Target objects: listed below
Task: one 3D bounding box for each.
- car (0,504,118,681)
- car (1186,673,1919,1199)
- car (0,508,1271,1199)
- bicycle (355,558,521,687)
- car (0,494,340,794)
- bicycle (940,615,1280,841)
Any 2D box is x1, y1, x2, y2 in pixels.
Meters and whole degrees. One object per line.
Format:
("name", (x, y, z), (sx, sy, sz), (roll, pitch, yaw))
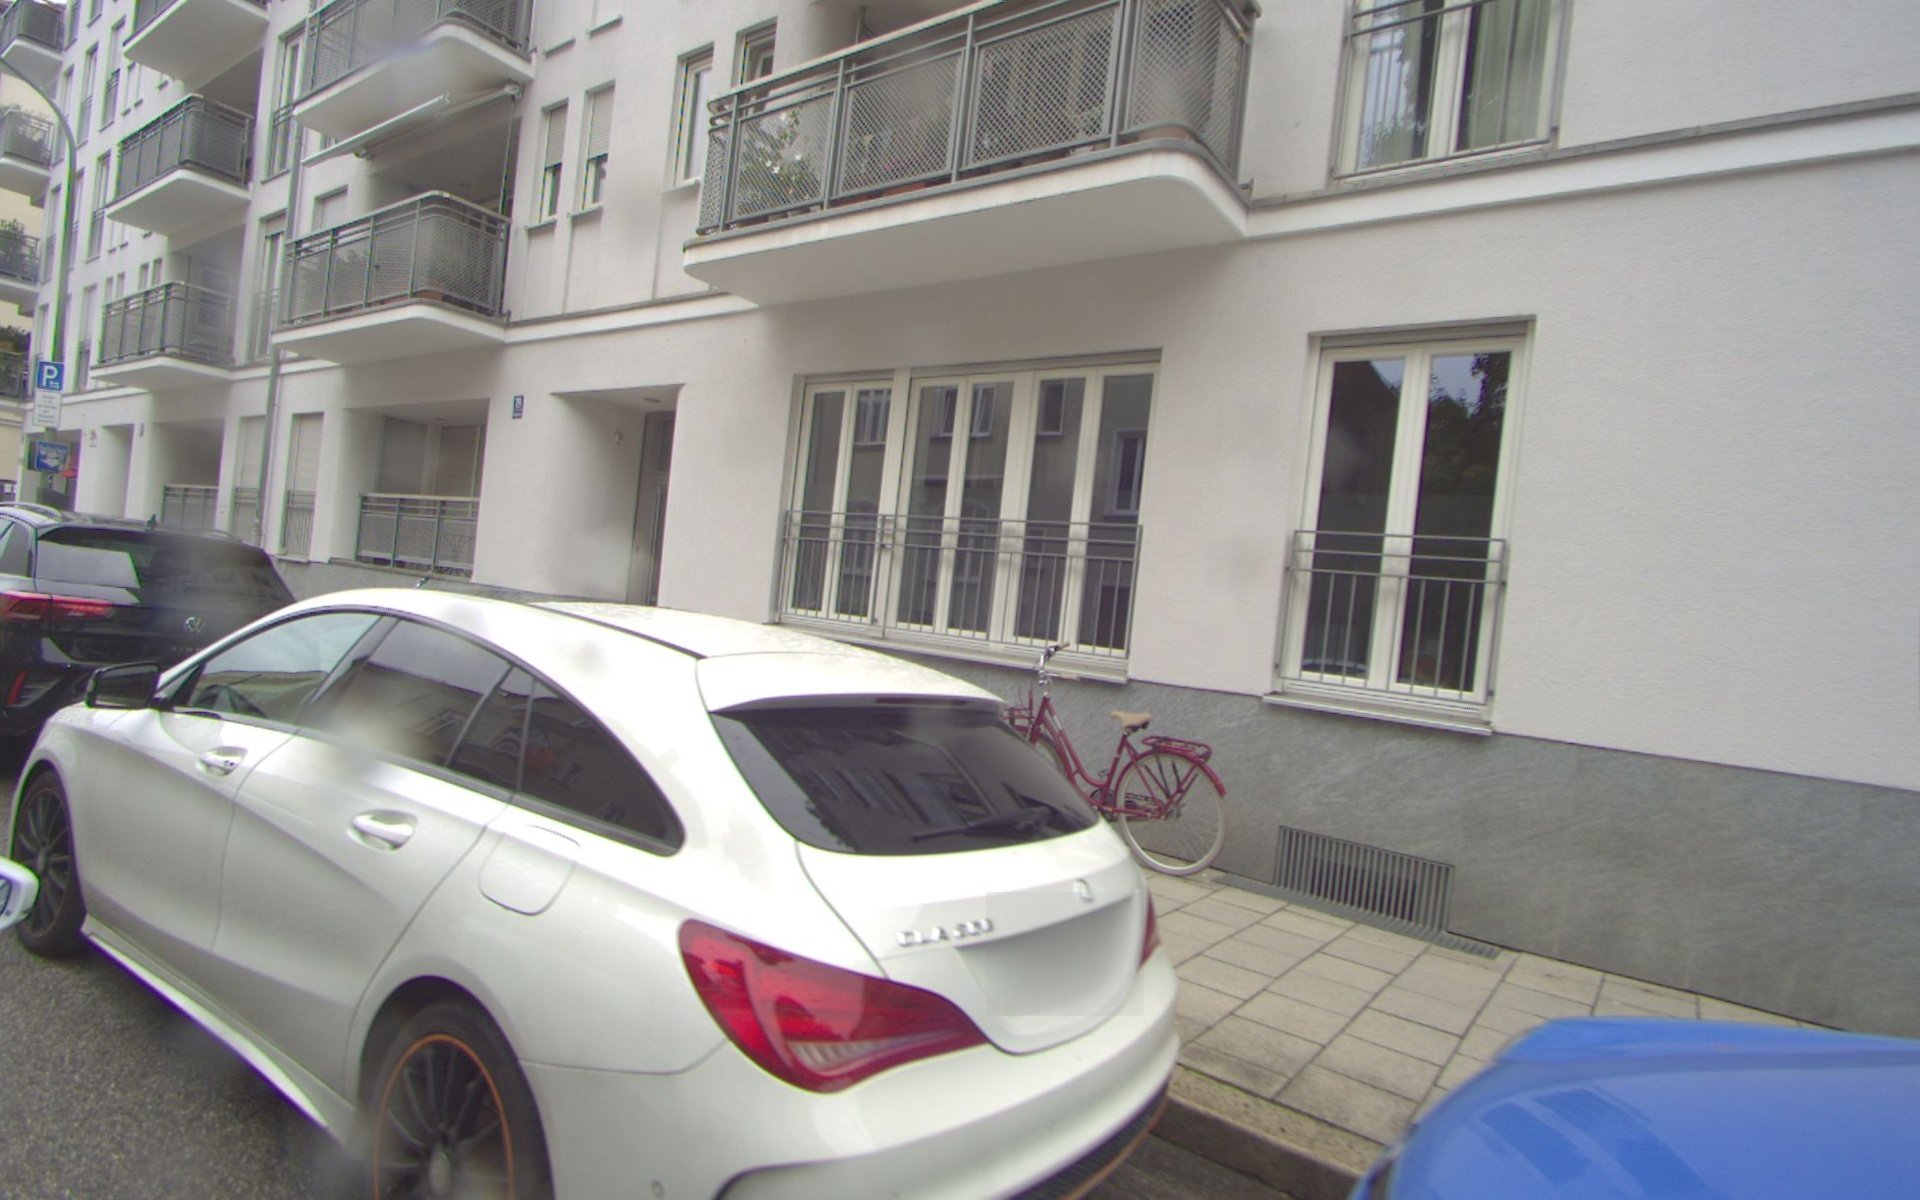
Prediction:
("car", (-10.539, -0.288, 10.277), (4.549, 1.547, 1.736), (6, -3, 35))
("car", (2.139, 1.034, 0.891), (3.498, 1.428, 1.621), (6, -3, 35))
("car", (-1.402, 0.658, 3.196), (4.141, 1.456, 1.660), (6, -3, 35))
("bicycle", (-5.764, 0.227, 11.047), (2.094, 1.175, 0.627), (6, 1, 35))
("car", (-6.133, 0.155, 6.939), (3.922, 1.547, 1.606), (6, -3, 35))
("bicycle", (0.846, 0.688, 5.949), (1.806, 1.040, 0.677), (4, -1, 36))
